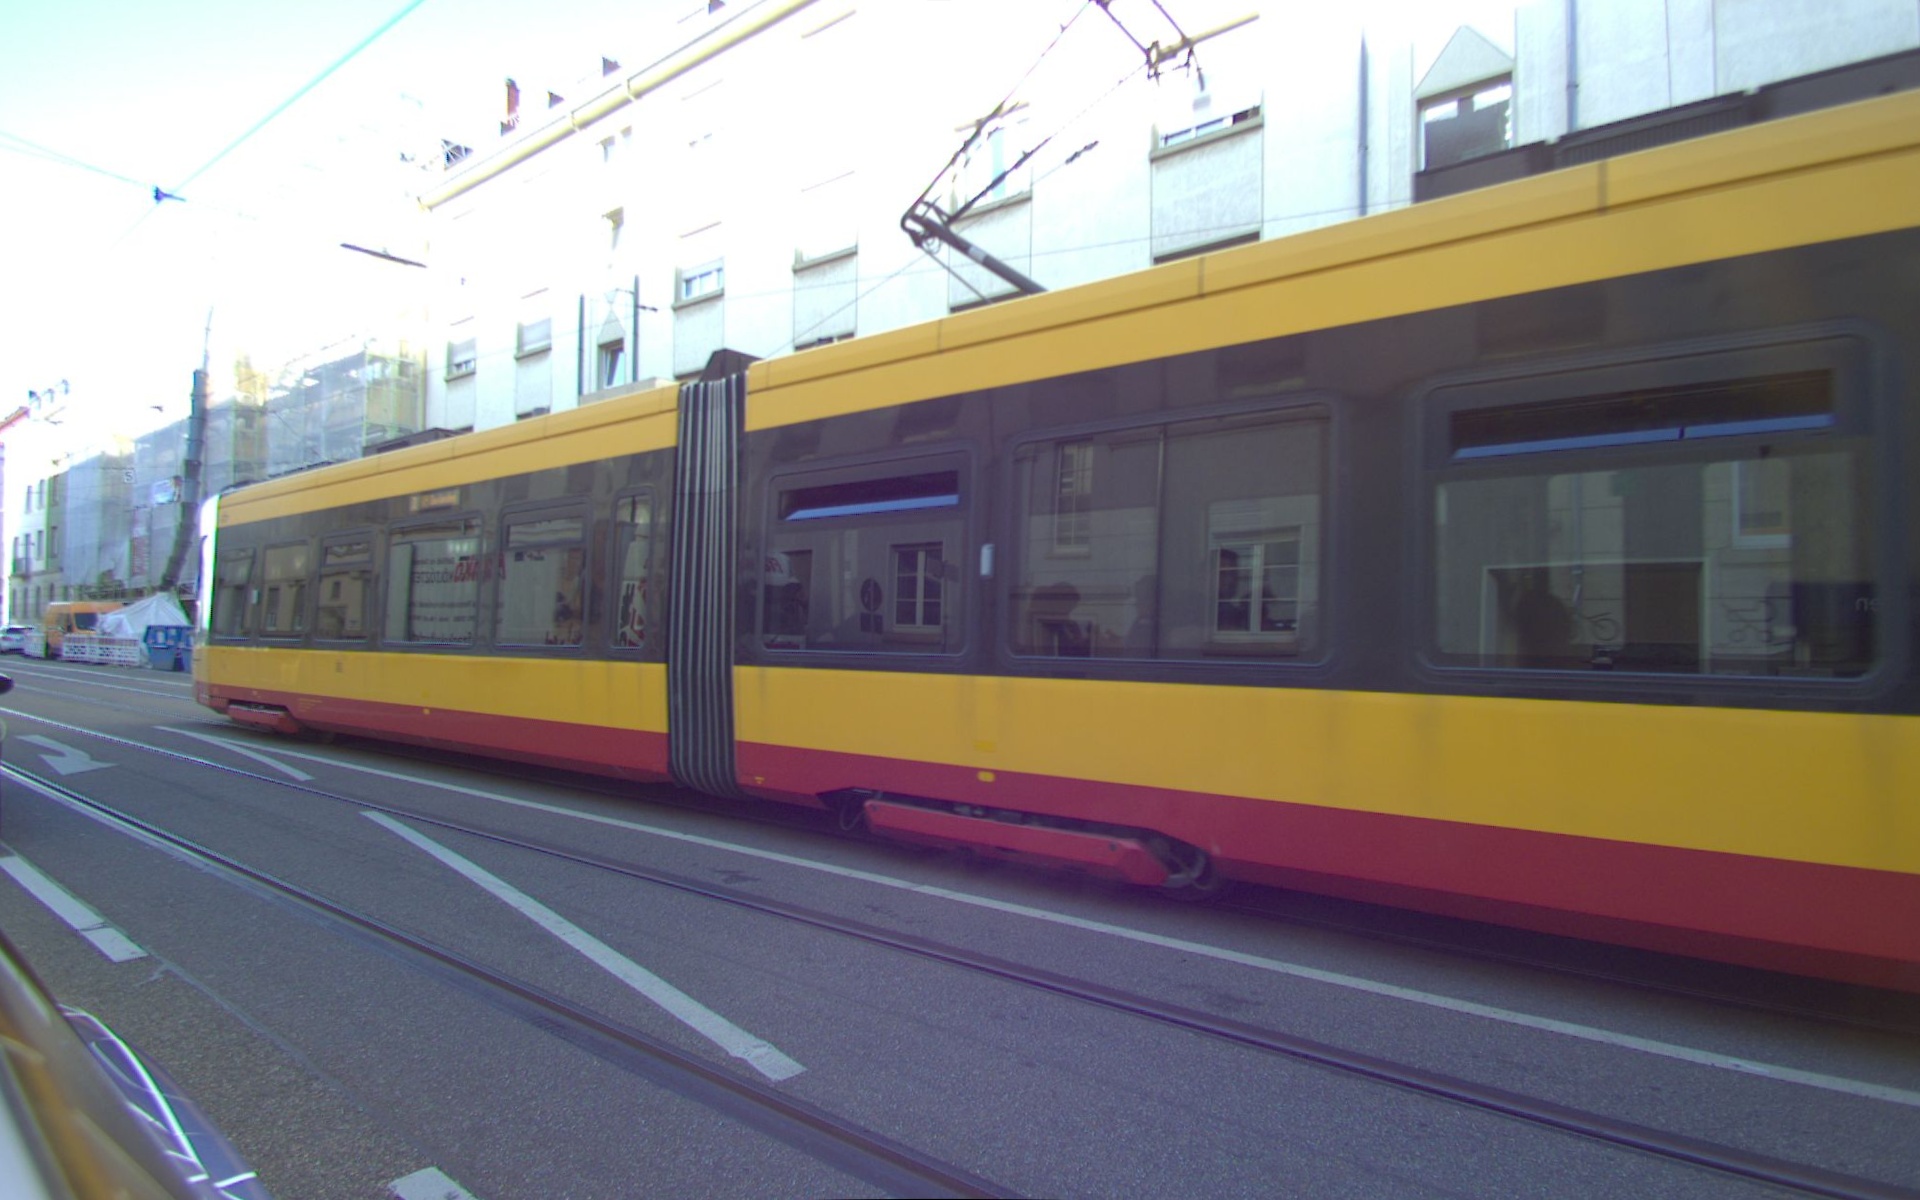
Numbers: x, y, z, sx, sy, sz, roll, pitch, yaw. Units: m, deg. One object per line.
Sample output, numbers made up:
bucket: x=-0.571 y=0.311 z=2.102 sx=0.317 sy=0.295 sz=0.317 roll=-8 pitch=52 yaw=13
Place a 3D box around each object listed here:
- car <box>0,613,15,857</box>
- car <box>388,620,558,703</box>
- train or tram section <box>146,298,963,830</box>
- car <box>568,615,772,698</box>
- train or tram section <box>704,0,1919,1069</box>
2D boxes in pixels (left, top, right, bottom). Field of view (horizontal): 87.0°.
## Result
car: x=-7.994 y=0.856 z=6.986 sx=3.997 sy=1.515 sz=1.670 roll=-2 pitch=-3 yaw=40
car: x=-10.636 y=1.259 z=22.013 sx=4.108 sy=1.603 sz=1.691 roll=-1 pitch=0 yaw=38
train or tram section: x=-5.863 y=-0.119 z=11.987 sx=12.613 sy=3.621 sz=3.032 roll=-1 pitch=-3 yaw=38
car: x=-5.160 y=0.929 z=17.883 sx=3.483 sy=1.286 sz=1.730 roll=-1 pitch=0 yaw=37
train or tram section: x=2.704 y=-0.374 z=5.103 sx=9.072 sy=3.658 sz=2.798 roll=-1 pitch=0 yaw=38
